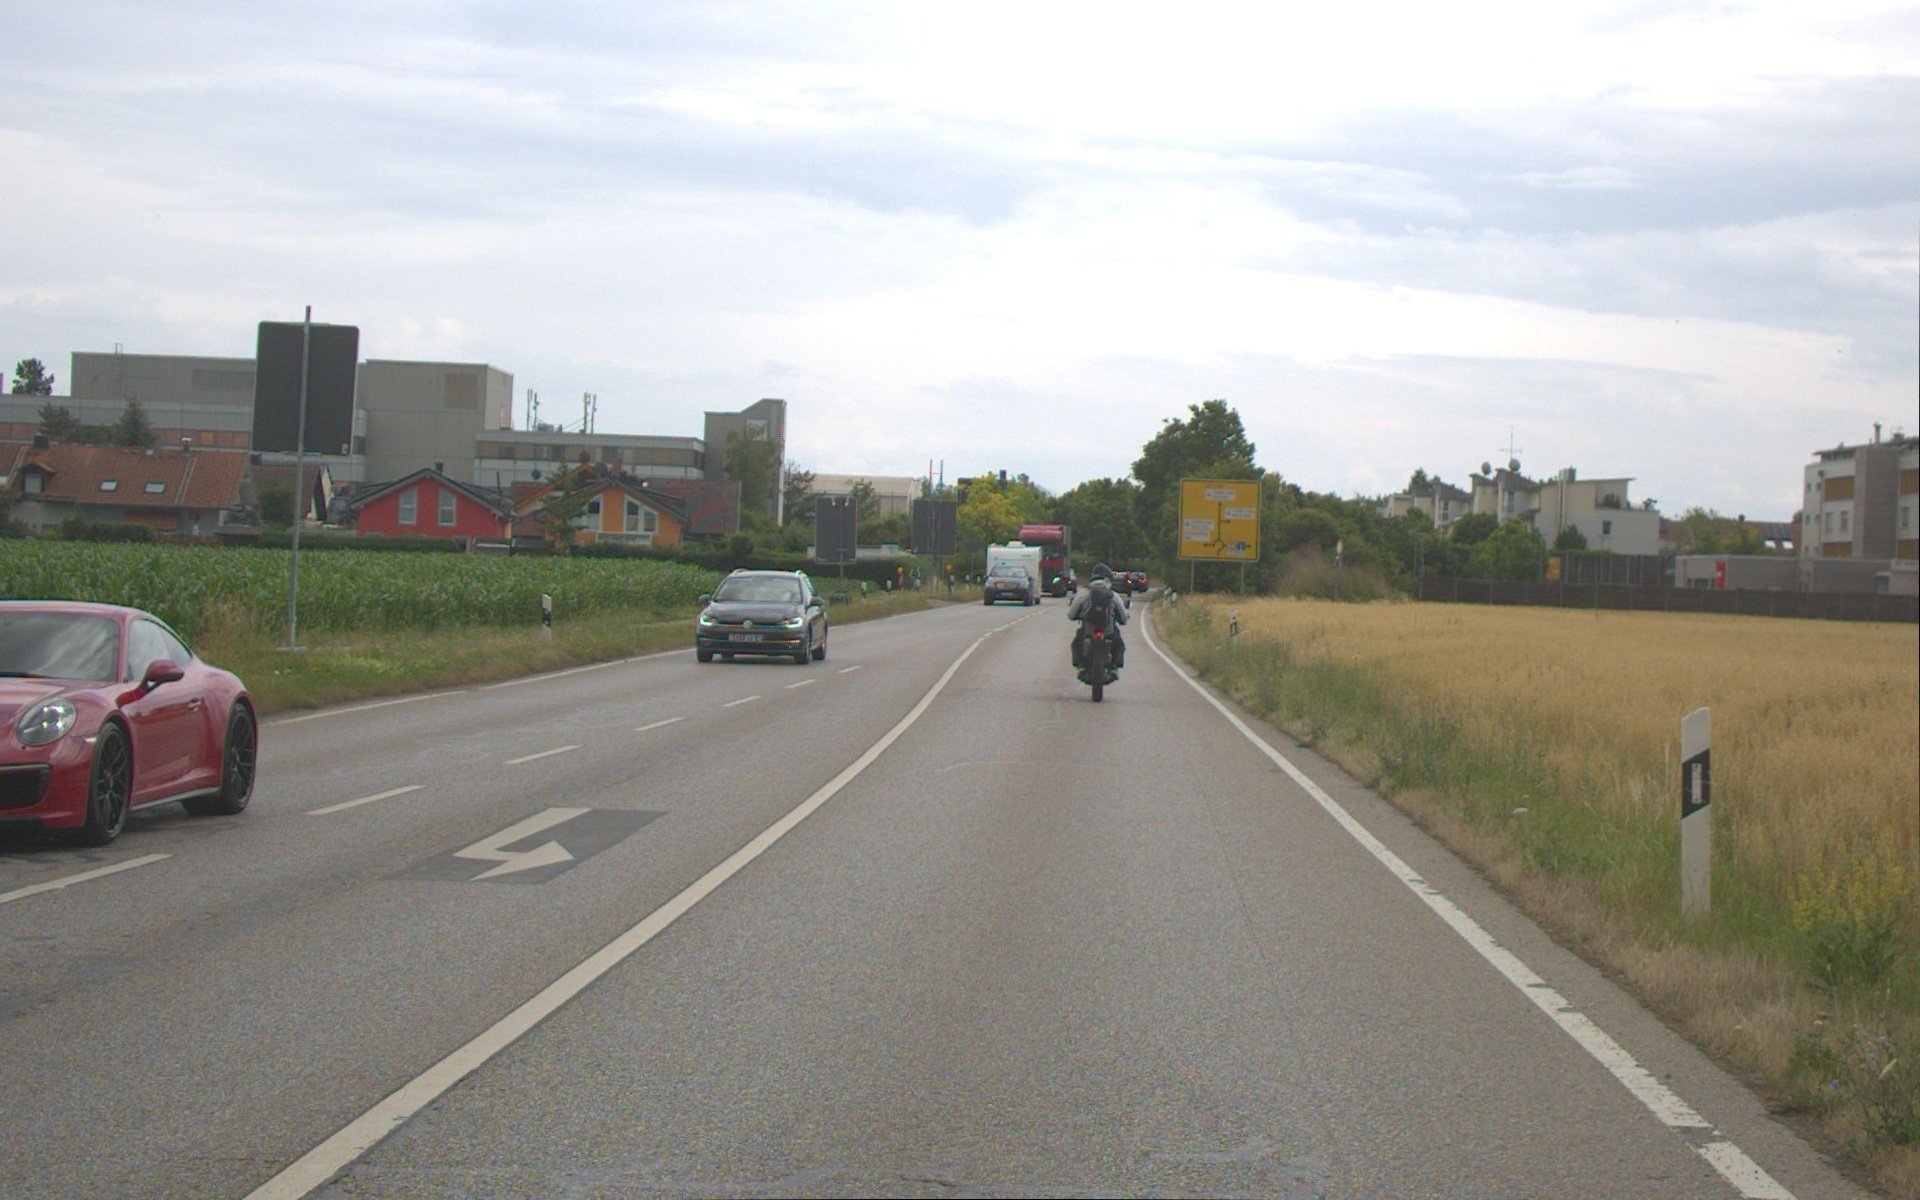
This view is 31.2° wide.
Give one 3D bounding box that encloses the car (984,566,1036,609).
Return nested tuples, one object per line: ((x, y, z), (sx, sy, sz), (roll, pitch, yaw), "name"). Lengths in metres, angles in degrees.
((2.142, -0.548, 145.553), (1.994, 1.693, 4.675), (2, 1, 3), "car")

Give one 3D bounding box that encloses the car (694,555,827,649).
((-3.160, 0.013, 55.145), (1.669, 1.424, 4.302), (1, 1, 3), "car")

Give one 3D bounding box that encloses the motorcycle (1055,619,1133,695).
((1.734, 0.724, 44.090), (0.941, 0.887, 2.145), (2, 0, 3), "motorcycle")

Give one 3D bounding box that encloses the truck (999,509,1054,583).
((3.752, -3.013, 192.988), (2.730, 3.974, 6.815), (2, 0, 3), "truck")

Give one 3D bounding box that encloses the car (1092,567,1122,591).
((9.332, -1.346, 218.130), (1.855, 1.467, 4.000), (2, 1, 3), "car")

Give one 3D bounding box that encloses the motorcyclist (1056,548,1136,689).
((1.751, 0.232, 44.035), (0.941, 1.744, 1.200), (2, 0, 3), "motorcyclist")

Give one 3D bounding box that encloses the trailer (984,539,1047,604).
((2.461, -1.249, 151.335), (2.324, 2.720, 7.842), (2, 1, 3), "trailer")

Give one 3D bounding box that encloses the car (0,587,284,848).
((-5.274, 0.587, 19.566), (1.771, 1.236, 4.211), (2, 1, 3), "car")
